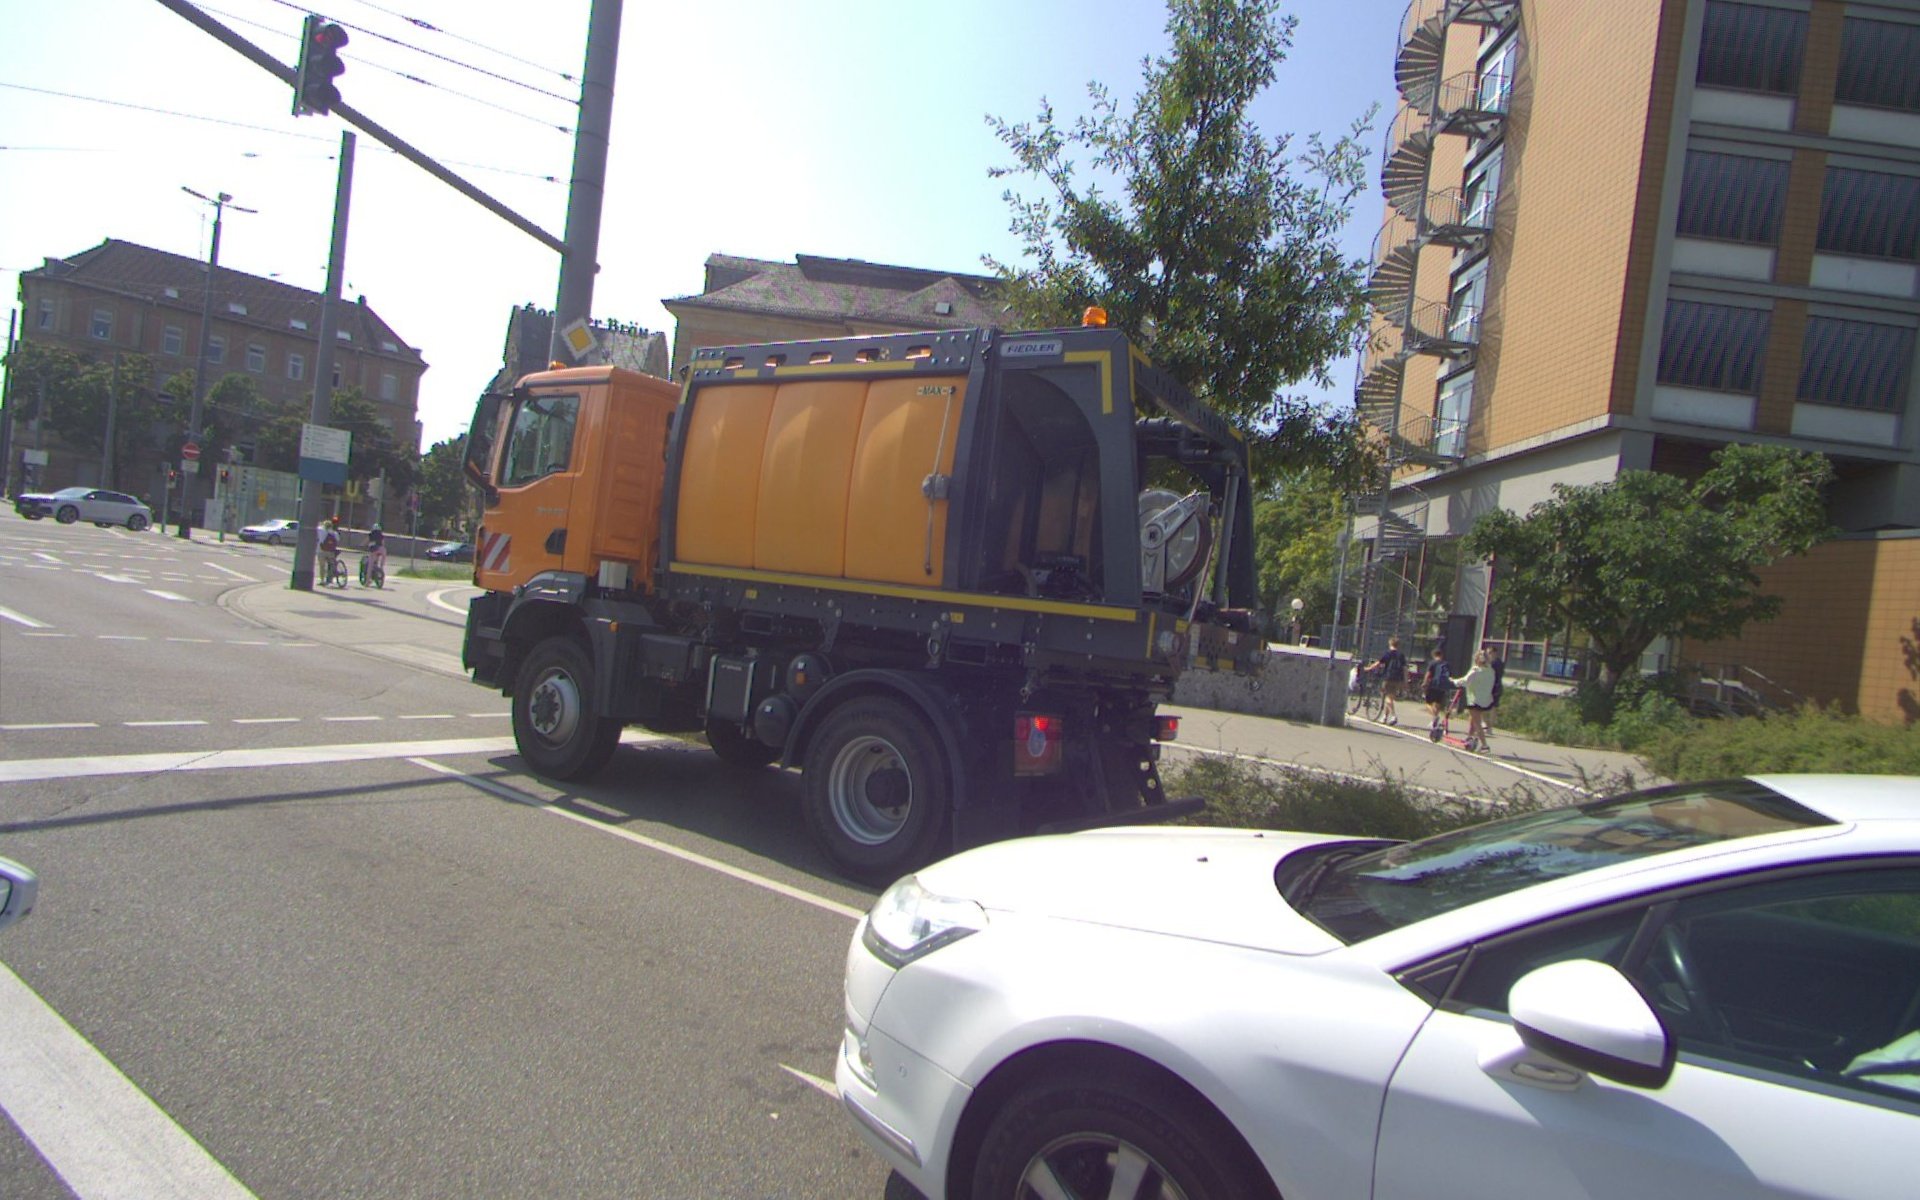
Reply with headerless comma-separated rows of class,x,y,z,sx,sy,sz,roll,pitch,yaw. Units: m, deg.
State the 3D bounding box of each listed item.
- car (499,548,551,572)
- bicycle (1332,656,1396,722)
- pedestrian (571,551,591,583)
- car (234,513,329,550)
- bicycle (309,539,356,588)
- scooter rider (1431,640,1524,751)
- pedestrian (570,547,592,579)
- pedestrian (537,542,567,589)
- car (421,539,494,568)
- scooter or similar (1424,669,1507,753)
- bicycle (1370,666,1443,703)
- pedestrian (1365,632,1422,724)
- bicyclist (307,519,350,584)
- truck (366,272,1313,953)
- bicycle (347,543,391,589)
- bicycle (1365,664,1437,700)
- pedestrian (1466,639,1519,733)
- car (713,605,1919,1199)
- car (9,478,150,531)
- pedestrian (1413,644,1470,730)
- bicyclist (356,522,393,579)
car,-34.106,-3.146,78.991,1.742,1.433,4.203,7,0,6
bicycle,8.665,1.885,21.629,0.474,1.227,1.847,6,0,-1
pedestrian,-19.781,-1.733,52.543,0.727,1.595,0.787,6,1,-14
car,-36.320,-3.659,53.963,1.742,1.433,4.190,7,0,8
bicycle,-15.676,-0.911,25.107,1.632,1.068,0.535,7,1,44
scooter rider,9.024,1.646,17.584,0.845,1.778,1.040,7,-1,-5
pedestrian,-15.823,-1.538,41.998,0.660,1.229,0.523,6,1,-30
pedestrian,-16.104,-1.371,39.712,0.808,1.746,0.545,7,1,-10
car,-34.446,-3.188,69.085,1.742,1.433,4.771,7,0,12
scooter or similar,8.832,1.924,17.622,0.640,1.294,1.177,7,-1,-4
bicycle,13.518,2.547,30.475,1.866,0.850,0.549,7,1,6
pedestrian,9.281,1.658,21.561,0.665,1.862,0.837,6,1,0
bicyclist,-15.787,-1.212,25.150,0.702,1.537,0.626,7,1,44
truck,-1.289,-0.153,7.564,6.750,3.172,2.495,7,-1,34
bicycle,-15.879,-0.924,27.018,1.632,1.068,0.535,7,1,44
bicycle,13.626,2.540,31.099,1.866,0.850,0.549,7,1,6
pedestrian,11.332,1.805,21.422,0.617,1.895,0.837,6,1,13
car,1.828,1.014,1.985,4.534,1.446,1.770,7,0,33
car,-38.033,-4.085,43.605,1.721,1.638,4.338,7,0,11
pedestrian,10.209,1.828,21.356,0.665,1.695,0.837,6,1,6
bicyclist,-15.571,-1.330,26.748,0.882,1.410,0.529,7,1,44
